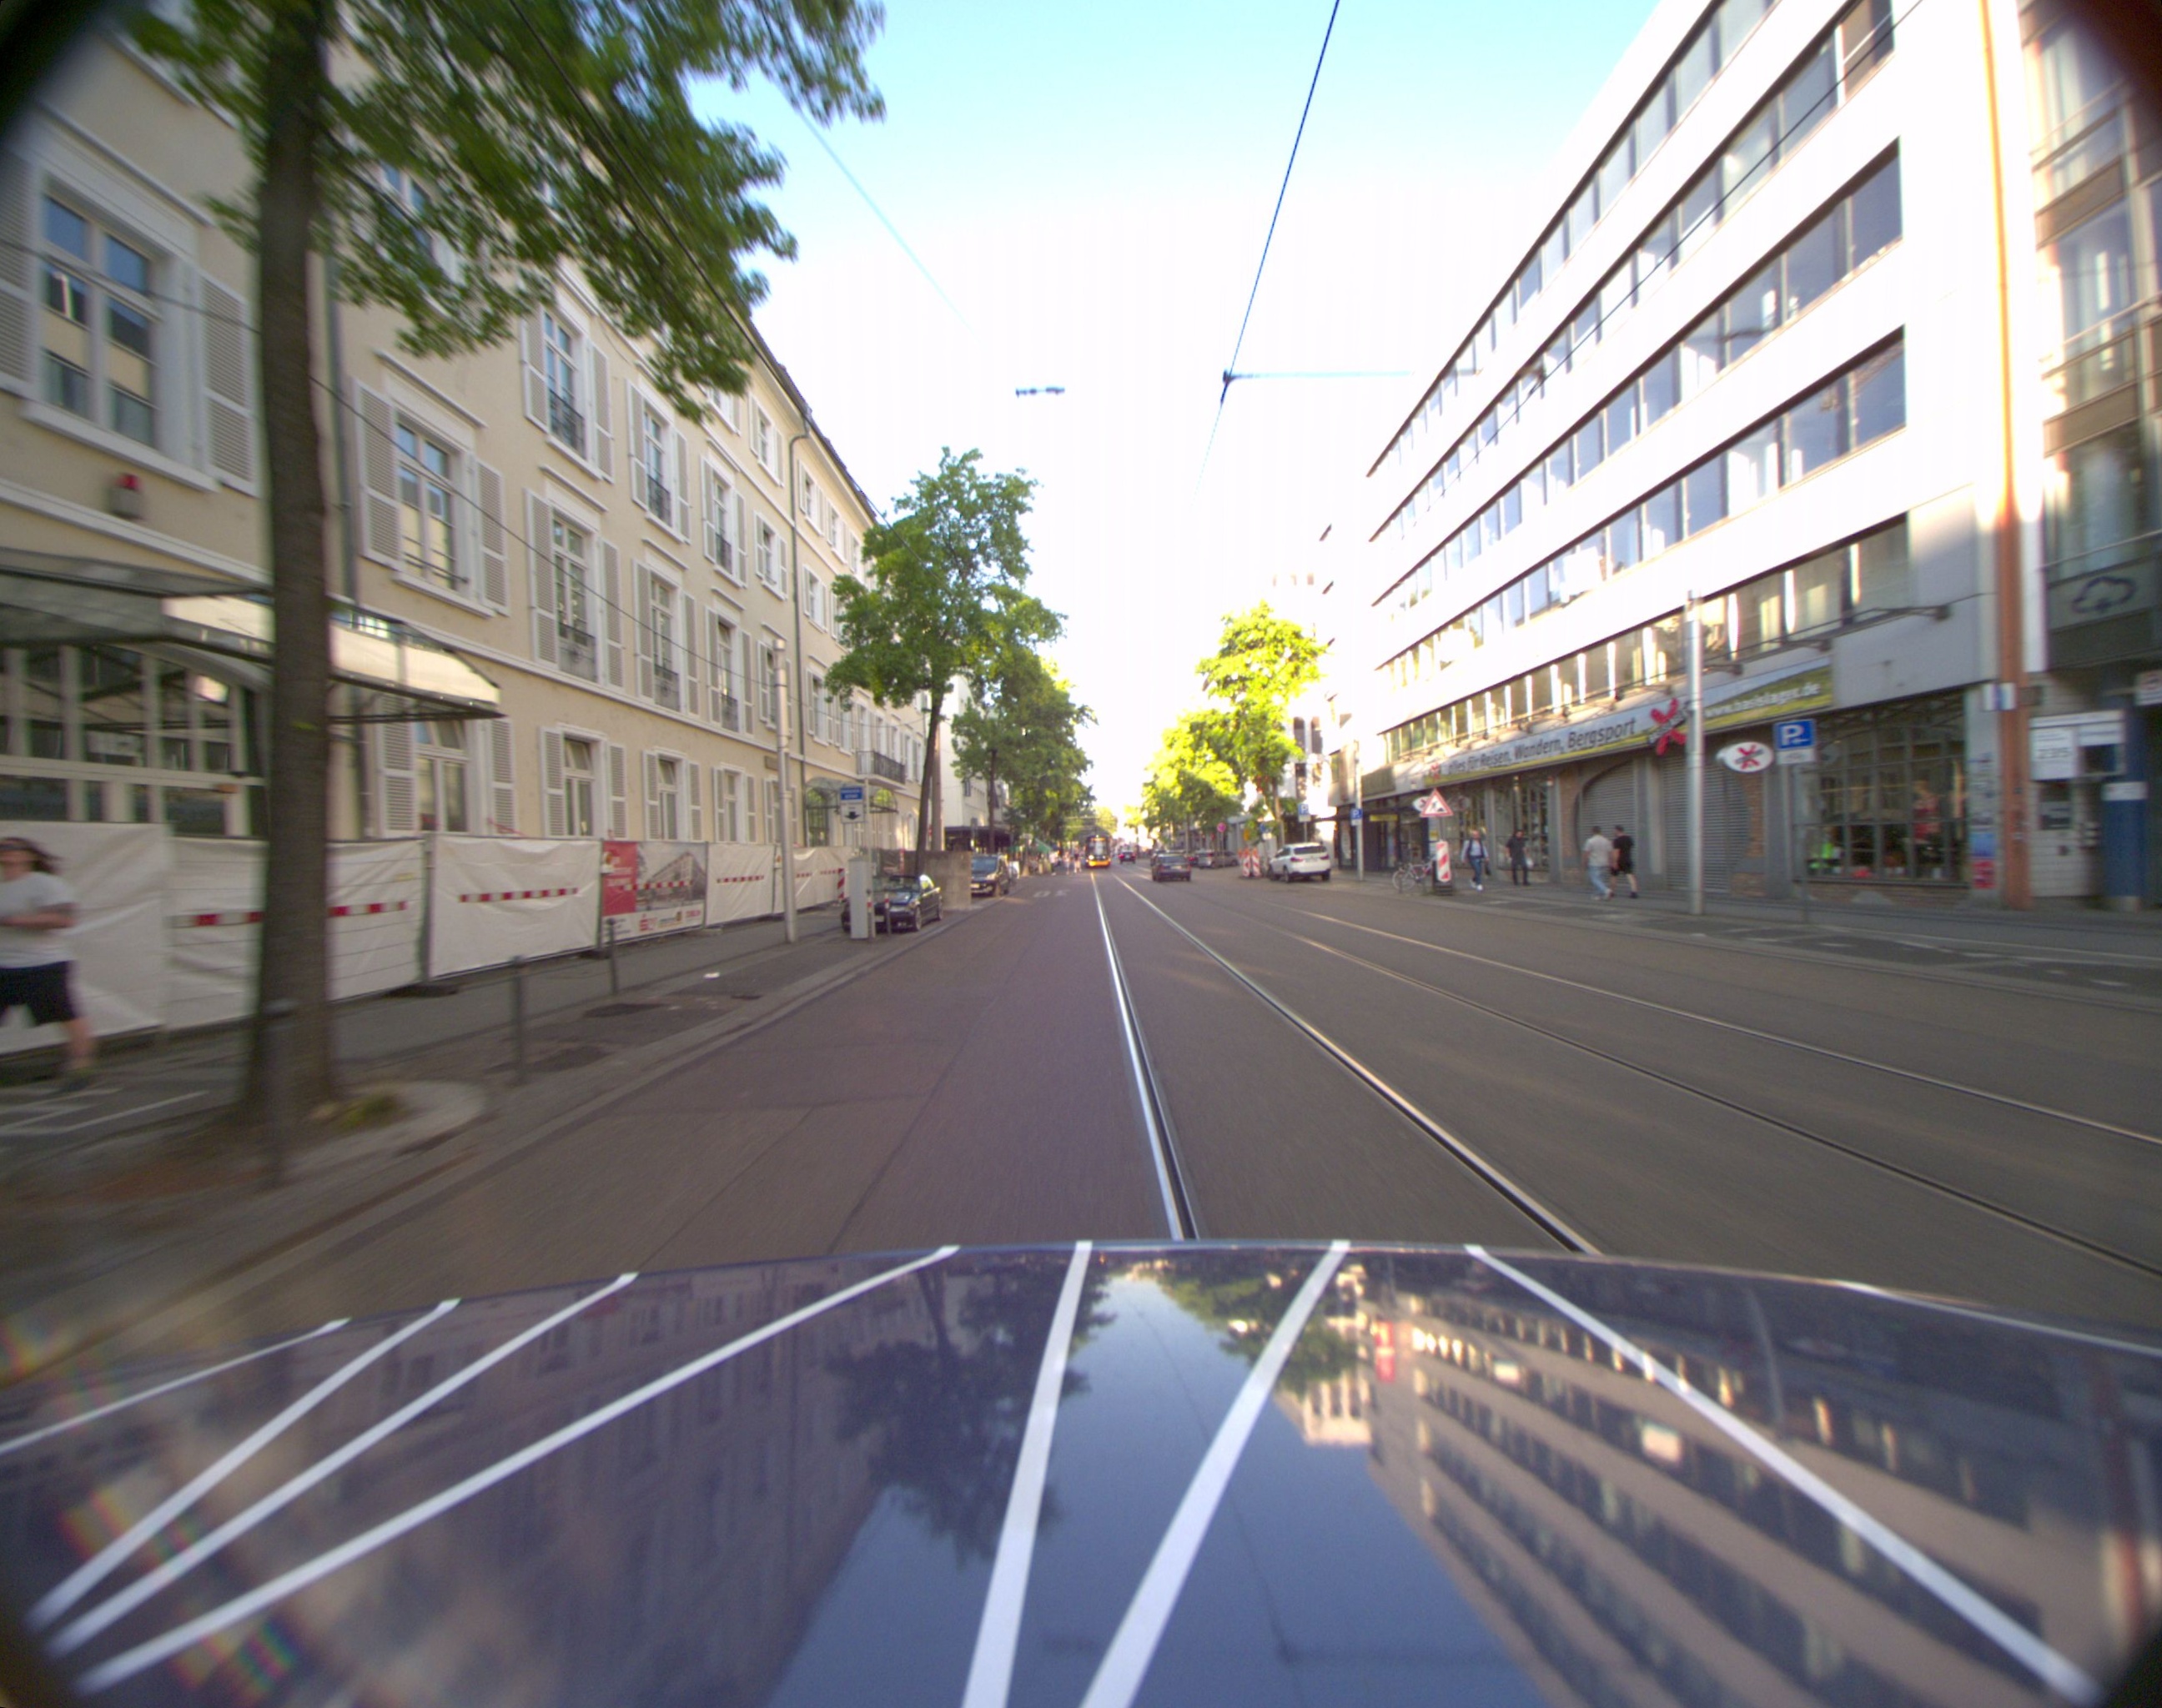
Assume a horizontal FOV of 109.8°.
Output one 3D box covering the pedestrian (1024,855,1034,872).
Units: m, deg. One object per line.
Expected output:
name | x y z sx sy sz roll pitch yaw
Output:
pedestrian | -4.263 0.768 62.482 0.716 1.321 0.624 -2 1 2

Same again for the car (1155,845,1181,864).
car | 8.657 0.021 75.938 2.039 1.796 4.200 -1 0 0

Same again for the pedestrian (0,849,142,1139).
pedestrian | -7.353 0.910 5.107 0.714 1.876 1.053 -1 1 1

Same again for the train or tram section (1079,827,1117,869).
train or tram section | 1.756 -0.620 81.993 3.607 3.974 15.715 -2 0 1

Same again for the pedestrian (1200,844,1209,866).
pedestrian | 11.101 0.068 68.217 0.656 1.922 0.723 -2 1 2

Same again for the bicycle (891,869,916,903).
bicycle | -5.985 1.060 25.529 0.656 1.064 1.671 0 0 -19

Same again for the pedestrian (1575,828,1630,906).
pedestrian | 11.963 0.293 17.457 0.643 1.703 0.829 -3 1 4

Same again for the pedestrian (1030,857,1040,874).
pedestrian | -3.704 0.907 61.327 0.716 1.321 0.624 -2 1 2

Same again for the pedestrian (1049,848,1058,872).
pedestrian | -2.189 0.465 60.633 0.598 1.922 0.873 -2 1 3

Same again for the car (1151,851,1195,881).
car | 4.743 0.600 39.738 1.783 1.399 4.527 -2 0 1

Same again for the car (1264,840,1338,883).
car | 10.180 0.309 35.533 1.998 1.744 4.744 -4 0 0

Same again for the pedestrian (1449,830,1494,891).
pedestrian | 11.604 0.195 22.575 0.853 1.756 0.832 -2 1 -2

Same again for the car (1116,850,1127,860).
car | 8.436 0.190 158.152 1.999 1.871 4.000 -2 0 -1

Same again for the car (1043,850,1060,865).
car | -3.651 0.382 94.259 2.003 1.831 4.966 0 1 -2

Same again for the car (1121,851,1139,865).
car | 6.356 0.512 99.256 2.039 1.677 4.200 -2 0 0

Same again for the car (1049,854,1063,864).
car | -3.312 0.645 100.554 1.715 1.318 3.593 -2 0 -2

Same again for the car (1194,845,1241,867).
car | 11.411 0.183 63.442 3.404 1.551 1.785 -5 2 -28

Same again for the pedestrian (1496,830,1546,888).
pedestrian | 13.567 0.139 23.444 0.834 1.685 1.037 -5 1 1

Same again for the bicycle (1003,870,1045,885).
bicycle | -3.043 1.261 40.590 1.753 0.744 1.566 0 1 18

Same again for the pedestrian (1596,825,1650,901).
pedestrian | 12.692 0.203 17.806 0.628 1.703 0.807 -3 1 4

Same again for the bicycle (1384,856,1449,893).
bicycle | 10.599 0.644 24.048 1.748 0.986 0.478 -5 0 8

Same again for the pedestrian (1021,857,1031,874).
pedestrian | -4.447 0.931 61.367 0.716 1.321 0.624 -2 1 2

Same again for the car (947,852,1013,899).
car | -4.171 0.840 32.045 1.956 1.782 4.316 0 1 4

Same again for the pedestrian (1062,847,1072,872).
pedestrian | -1.088 0.430 60.751 0.672 1.922 0.873 -2 1 3

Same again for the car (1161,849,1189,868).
car | 7.855 0.360 63.710 1.889 1.602 4.200 0 0 0

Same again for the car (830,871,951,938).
car | -4.457 1.131 18.462 1.798 1.304 4.329 0 1 1

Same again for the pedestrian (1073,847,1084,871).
pedestrian | -0.225 0.403 60.469 0.772 1.922 0.873 -2 1 2

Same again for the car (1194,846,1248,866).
car | 12.225 0.162 66.372 4.320 1.404 1.576 -5 2 -17

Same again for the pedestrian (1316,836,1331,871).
pedestrian | 14.220 -0.042 44.557 0.616 2.002 0.592 -2 1 -1

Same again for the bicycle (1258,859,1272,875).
bicycle | 10.029 0.706 41.539 0.503 0.832 1.535 -5 1 6

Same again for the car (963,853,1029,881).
car | -5.535 0.820 49.733 3.937 1.600 1.867 -2 2 8
